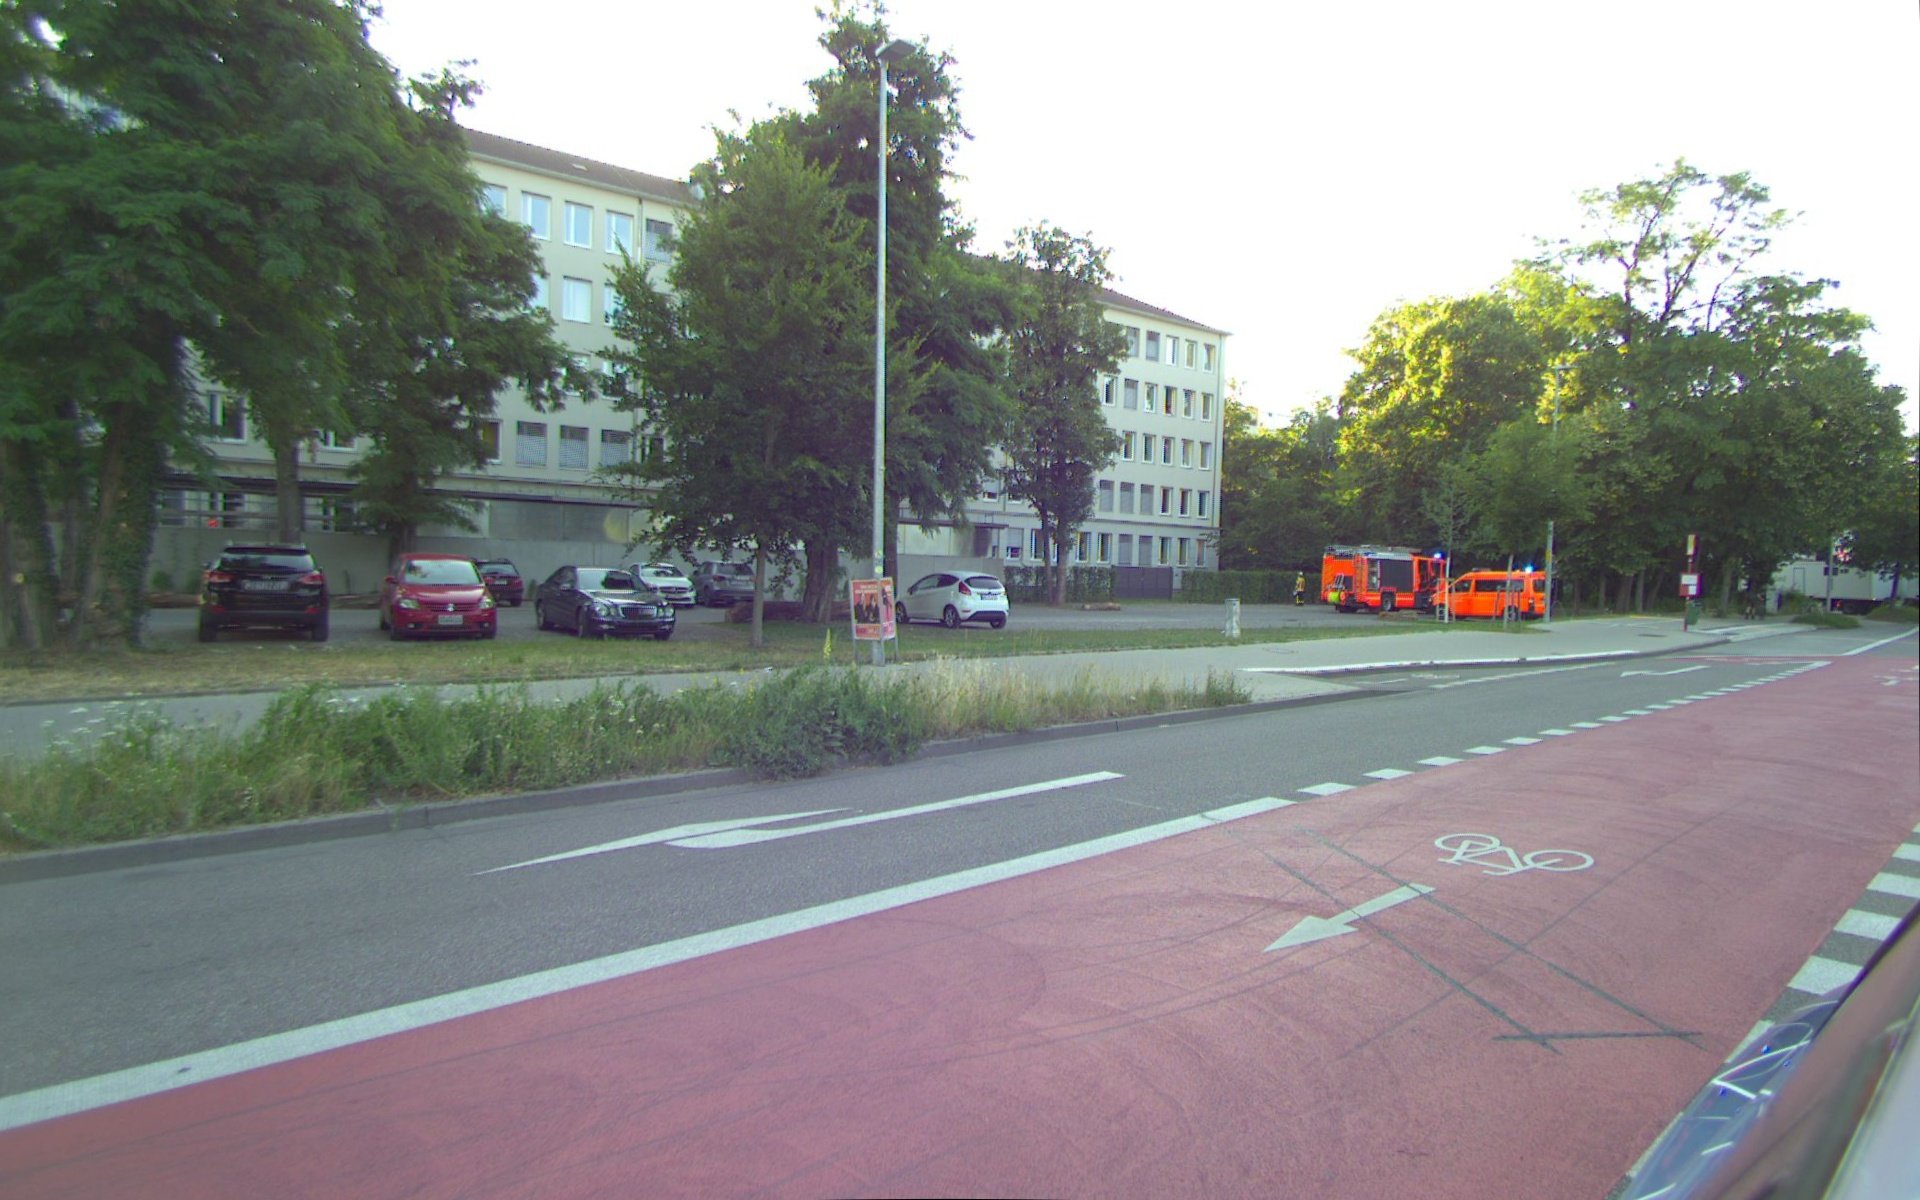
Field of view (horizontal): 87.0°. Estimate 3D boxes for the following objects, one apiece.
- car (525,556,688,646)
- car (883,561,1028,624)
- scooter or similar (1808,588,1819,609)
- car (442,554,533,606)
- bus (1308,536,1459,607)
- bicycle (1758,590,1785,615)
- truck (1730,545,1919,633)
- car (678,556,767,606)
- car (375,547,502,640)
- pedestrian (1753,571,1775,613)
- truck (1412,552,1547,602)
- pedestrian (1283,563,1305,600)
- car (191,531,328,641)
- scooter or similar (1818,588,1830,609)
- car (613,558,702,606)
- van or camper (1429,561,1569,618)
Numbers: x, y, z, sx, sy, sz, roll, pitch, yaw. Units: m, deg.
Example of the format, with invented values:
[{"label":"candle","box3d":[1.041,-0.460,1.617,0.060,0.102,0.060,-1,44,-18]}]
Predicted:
[{"label":"car","box3d":[-7.446,-0.085,21.013,1.866,1.465,4.584,-2,6,-37]},{"label":"car","box3d":[-0.189,-0.235,27.056,1.876,1.556,3.999,0,2,-37]},{"label":"scooter or similar","box3d":[53.335,-0.095,63.242,0.482,1.297,1.213,5,3,40]},{"label":"car","box3d":[-14.462,-0.630,30.875,1.866,1.460,4.001,0,2,-35]},{"label":"bus","box3d":[20.807,-1.344,49.582,7.810,3.236,2.999,0,1,-34]},{"label":"bicycle","box3d":[39.880,0.109,49.739,0.828,1.111,1.944,4,3,35]},{"label":"truck","box3d":[63.942,-0.918,72.362,5.056,5.642,15.106,1,2,-5]},{"label":"car","box3d":[-8.352,-0.691,35.427,1.875,1.636,4.004,-1,2,-32]},{"label":"car","box3d":[-10.154,-0.194,19.553,1.751,1.580,4.003,0,2,-34]},{"label":"pedestrian","box3d":[39.502,-0.386,49.731,0.720,2.038,0.687,2,2,34]},{"label":"truck","box3d":[36.662,-1.722,71.861,2.703,3.250,8.683,1,2,-24]},{"label":"pedestrian","box3d":[18.380,-1.027,55.747,0.810,2.038,0.774,1,2,-32]},{"label":"car","box3d":[-12.398,-0.280,17.895,1.802,1.715,3.910,0,1,-36]},{"label":"scooter or similar","box3d":[54.817,-0.081,64.205,0.482,1.297,1.123,5,3,41]},{"label":"car","box3d":[-10.142,-0.626,33.731,1.798,1.494,4.002,0,1,-33]},{"label":"van or camper","box3d":[23.044,-0.487,43.459,2.251,2.272,4.831,0,1,-34]}]
